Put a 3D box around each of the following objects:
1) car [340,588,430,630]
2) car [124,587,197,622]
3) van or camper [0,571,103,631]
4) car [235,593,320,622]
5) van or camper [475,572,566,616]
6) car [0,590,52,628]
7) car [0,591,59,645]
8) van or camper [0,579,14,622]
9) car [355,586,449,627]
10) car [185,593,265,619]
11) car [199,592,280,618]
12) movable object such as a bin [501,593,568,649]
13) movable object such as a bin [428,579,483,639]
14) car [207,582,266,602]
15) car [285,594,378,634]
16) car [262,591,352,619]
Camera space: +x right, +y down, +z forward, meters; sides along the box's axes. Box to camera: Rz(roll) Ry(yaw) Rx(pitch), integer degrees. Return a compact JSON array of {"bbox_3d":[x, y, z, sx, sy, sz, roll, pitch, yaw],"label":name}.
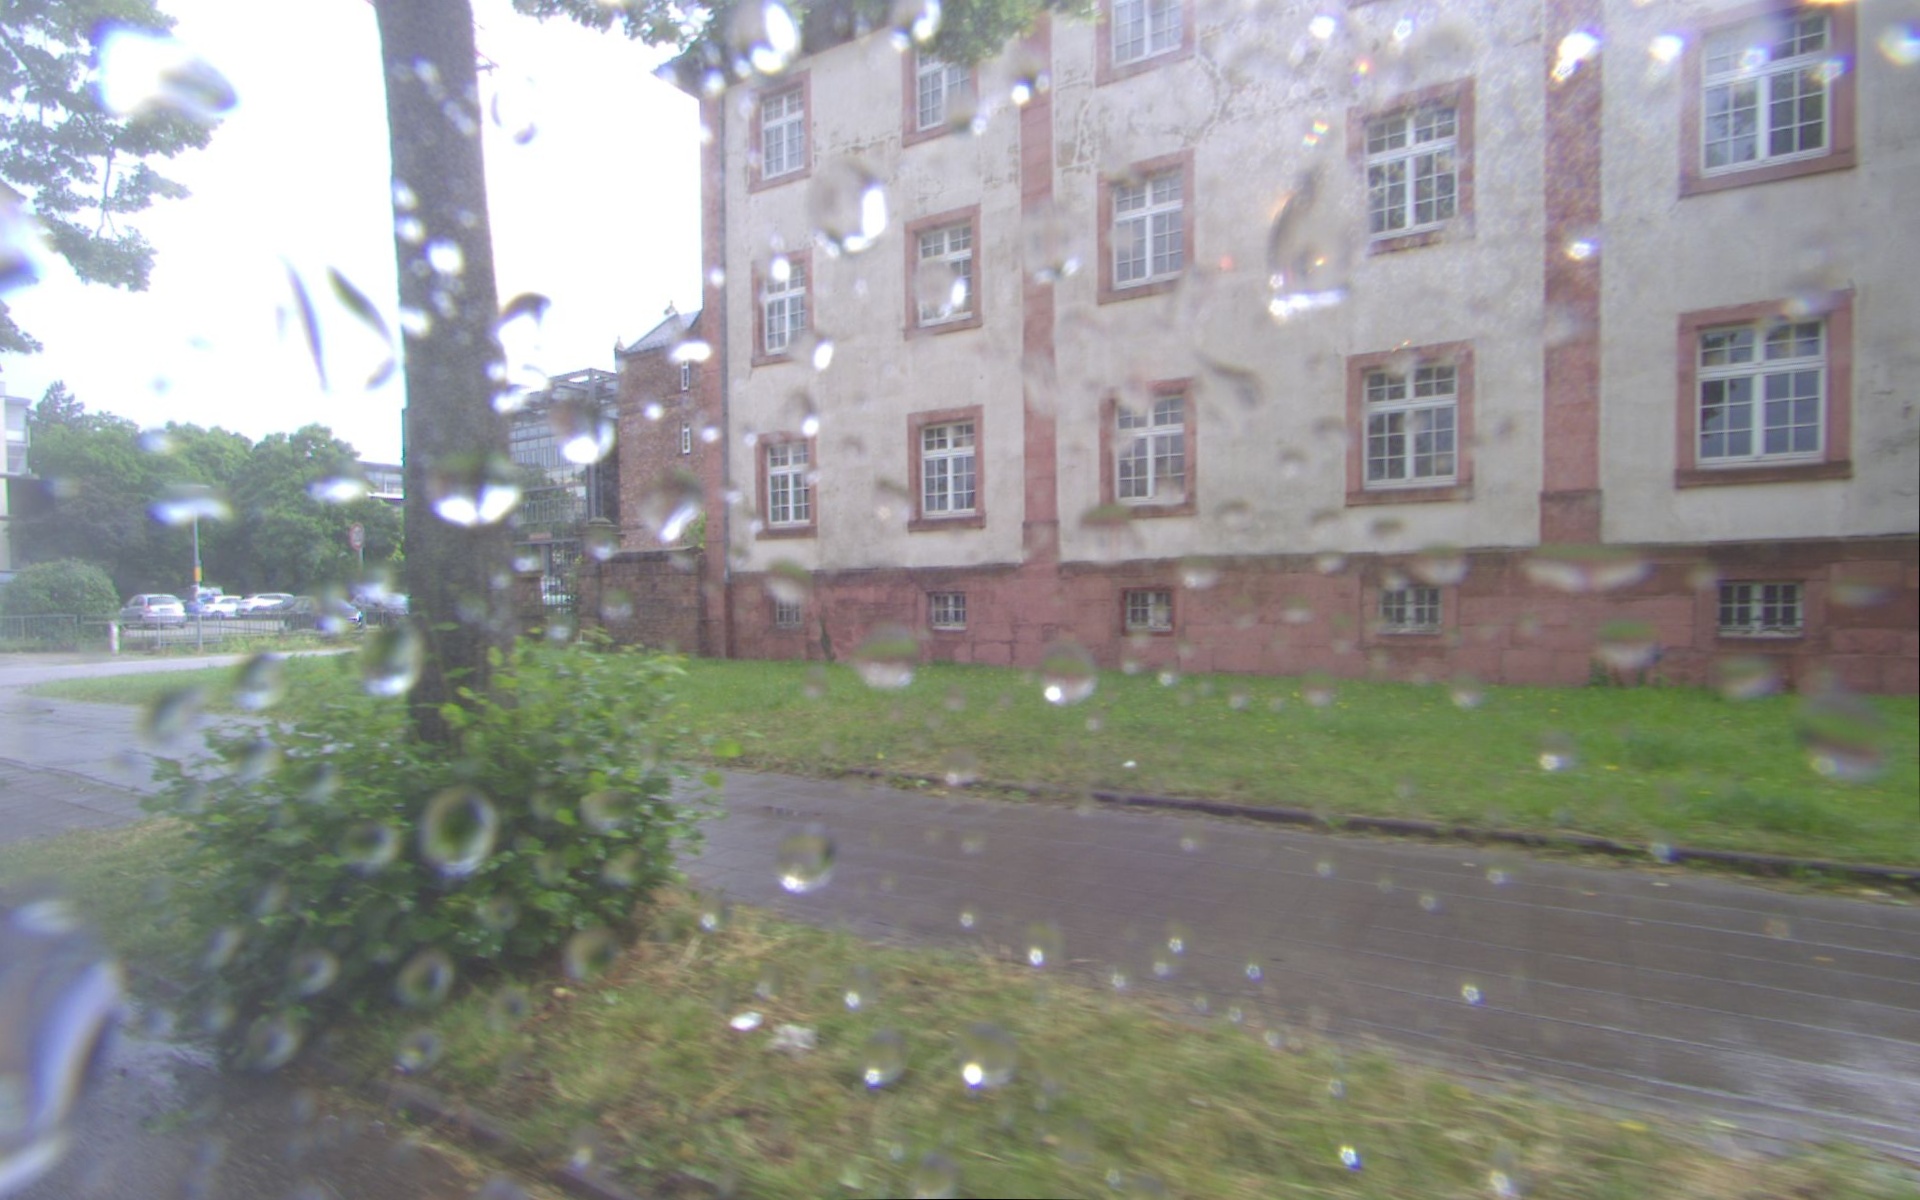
[{"bbox_3d":[-24.840,0.346,43.212,4.368,1.702,1.845,0,2,39],"label":"car"},{"bbox_3d":[-36.339,0.192,45.505,3.669,1.506,1.643,0,2,36],"label":"car"},{"bbox_3d":[-41.728,0.061,44.629,2.145,2.588,4.985,-1,0,34],"label":"van or camper"},{"bbox_3d":[-39.158,0.401,57.525,1.617,1.506,3.654,0,1,36],"label":"car"},{"bbox_3d":[-27.084,-0.311,61.902,2.226,2.518,4.778,-1,-2,32],"label":"van or camper"},{"bbox_3d":[-39.423,0.359,41.709,3.369,1.468,1.606,0,2,34],"label":"car"},{"bbox_3d":[-33.503,0.613,35.205,4.181,1.773,1.798,0,2,35],"label":"car"},{"bbox_3d":[-50.496,0.035,49.751,2.291,2.160,4.743,1,1,36],"label":"van or camper"},{"bbox_3d":[-24.476,0.282,43.873,4.363,1.702,1.847,0,2,35],"label":"car"},{"bbox_3d":[-45.434,0.329,61.926,1.617,1.506,3.654,0,1,36],"label":"car"},{"bbox_3d":[-43.495,0.286,60.506,1.617,1.506,3.654,0,1,36],"label":"car"},{"bbox_3d":[-11.818,0.559,27.837,1.371,1.477,1.102,0,3,34],"label":"movable object such as a bin"},{"bbox_3d":[-12.954,0.220,25.713,1.081,1.477,0.797,1,3,34],"label":"movable object such as a bin"},{"bbox_3d":[-53.332,-0.621,73.870,1.489,1.416,3.214,0,2,36],"label":"car"},{"bbox_3d":[-25.848,0.555,41.162,4.367,1.547,1.821,0,2,38],"label":"car"},{"bbox_3d":[-36.979,0.278,56.794,1.649,1.485,3.962,0,1,34],"label":"car"}]
